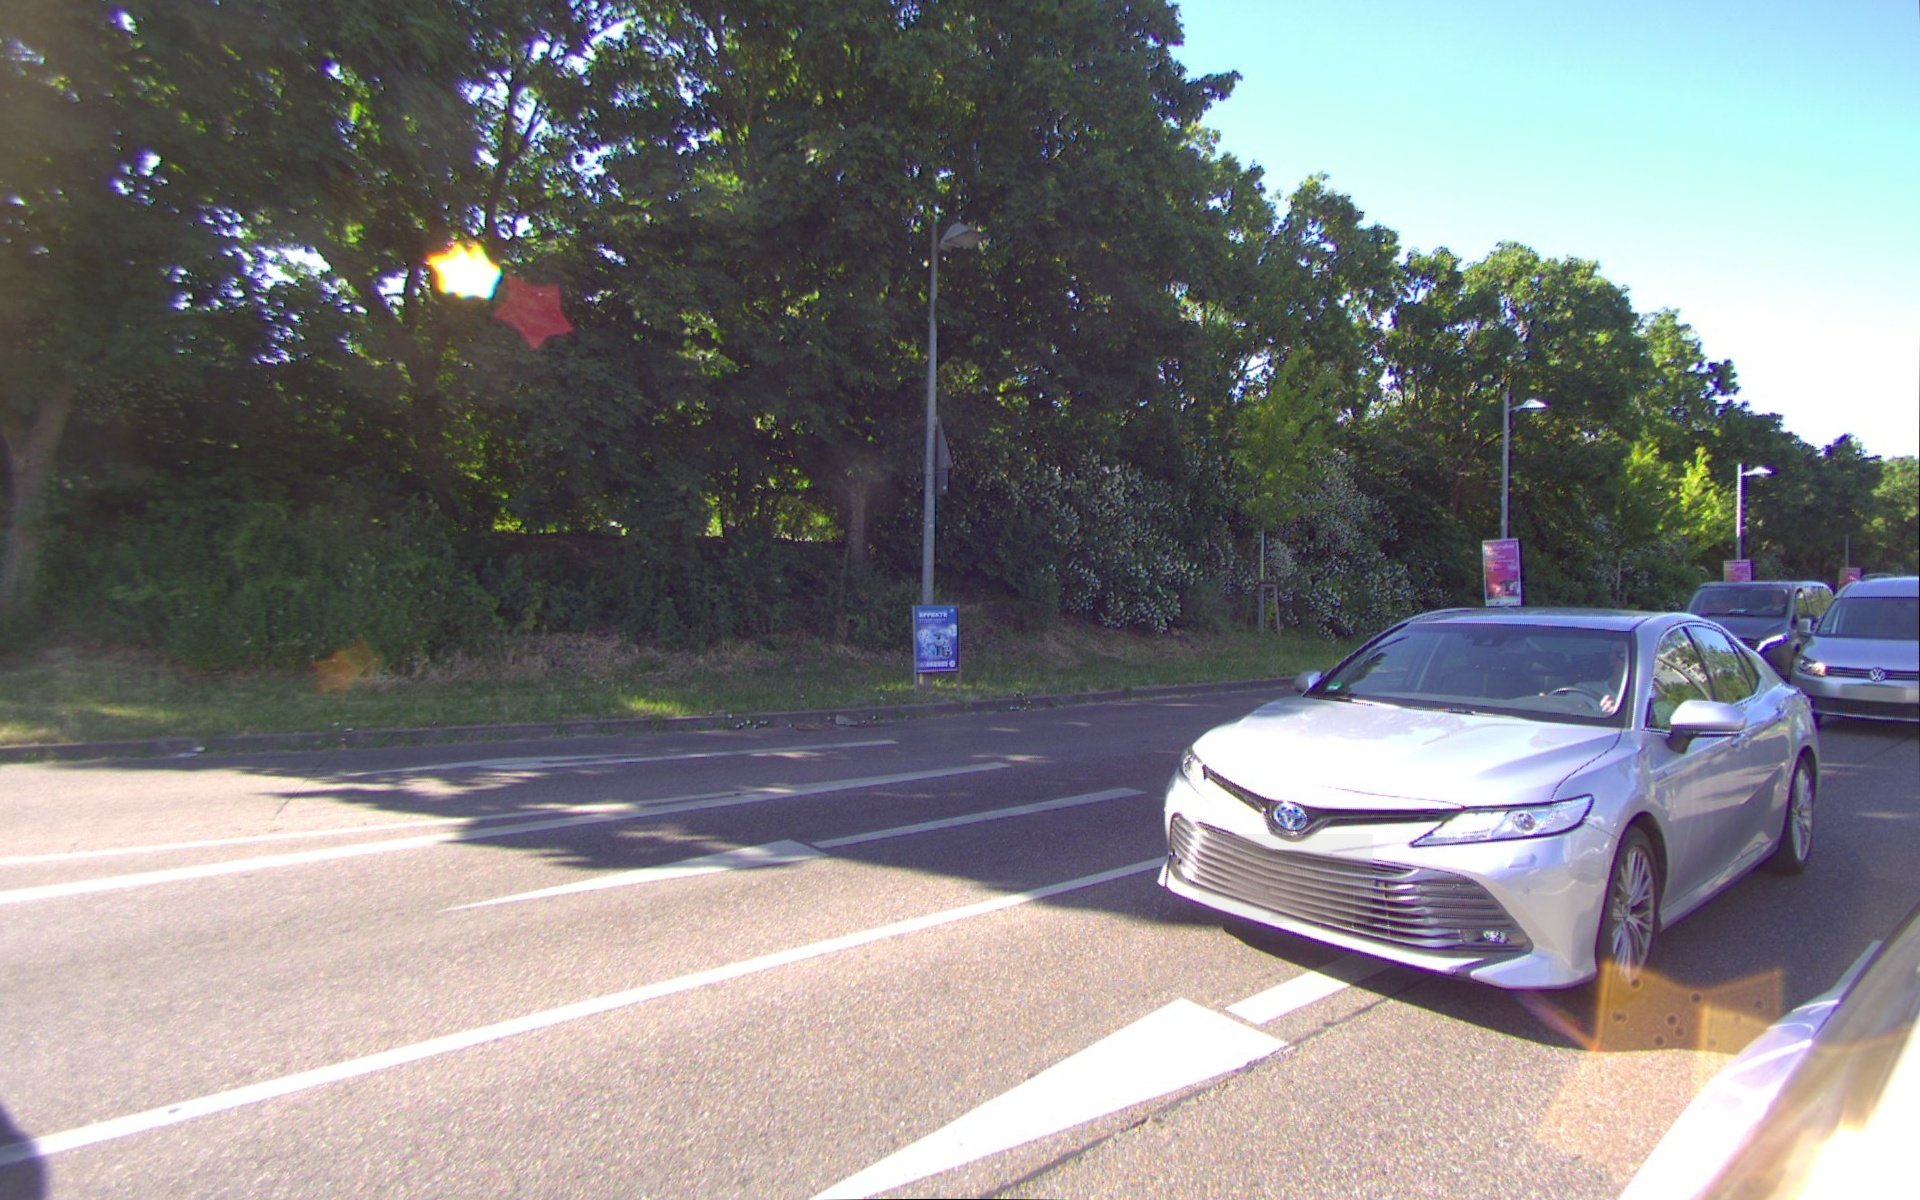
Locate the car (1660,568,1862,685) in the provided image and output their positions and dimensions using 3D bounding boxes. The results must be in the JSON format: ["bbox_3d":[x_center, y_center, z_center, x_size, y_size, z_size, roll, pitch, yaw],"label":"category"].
[{"bbox_3d":[15.168,0.404,19.055,5.056,1.917,1.998,0,1,-40],"label":"car"}]

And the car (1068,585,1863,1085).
[{"bbox_3d":[2.946,0.693,5.355,4.664,1.477,2.069,0,2,-40],"label":"car"}]

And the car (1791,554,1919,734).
[{"bbox_3d":[11.954,0.462,12.464,4.540,1.928,1.822,0,1,-40],"label":"car"}]
